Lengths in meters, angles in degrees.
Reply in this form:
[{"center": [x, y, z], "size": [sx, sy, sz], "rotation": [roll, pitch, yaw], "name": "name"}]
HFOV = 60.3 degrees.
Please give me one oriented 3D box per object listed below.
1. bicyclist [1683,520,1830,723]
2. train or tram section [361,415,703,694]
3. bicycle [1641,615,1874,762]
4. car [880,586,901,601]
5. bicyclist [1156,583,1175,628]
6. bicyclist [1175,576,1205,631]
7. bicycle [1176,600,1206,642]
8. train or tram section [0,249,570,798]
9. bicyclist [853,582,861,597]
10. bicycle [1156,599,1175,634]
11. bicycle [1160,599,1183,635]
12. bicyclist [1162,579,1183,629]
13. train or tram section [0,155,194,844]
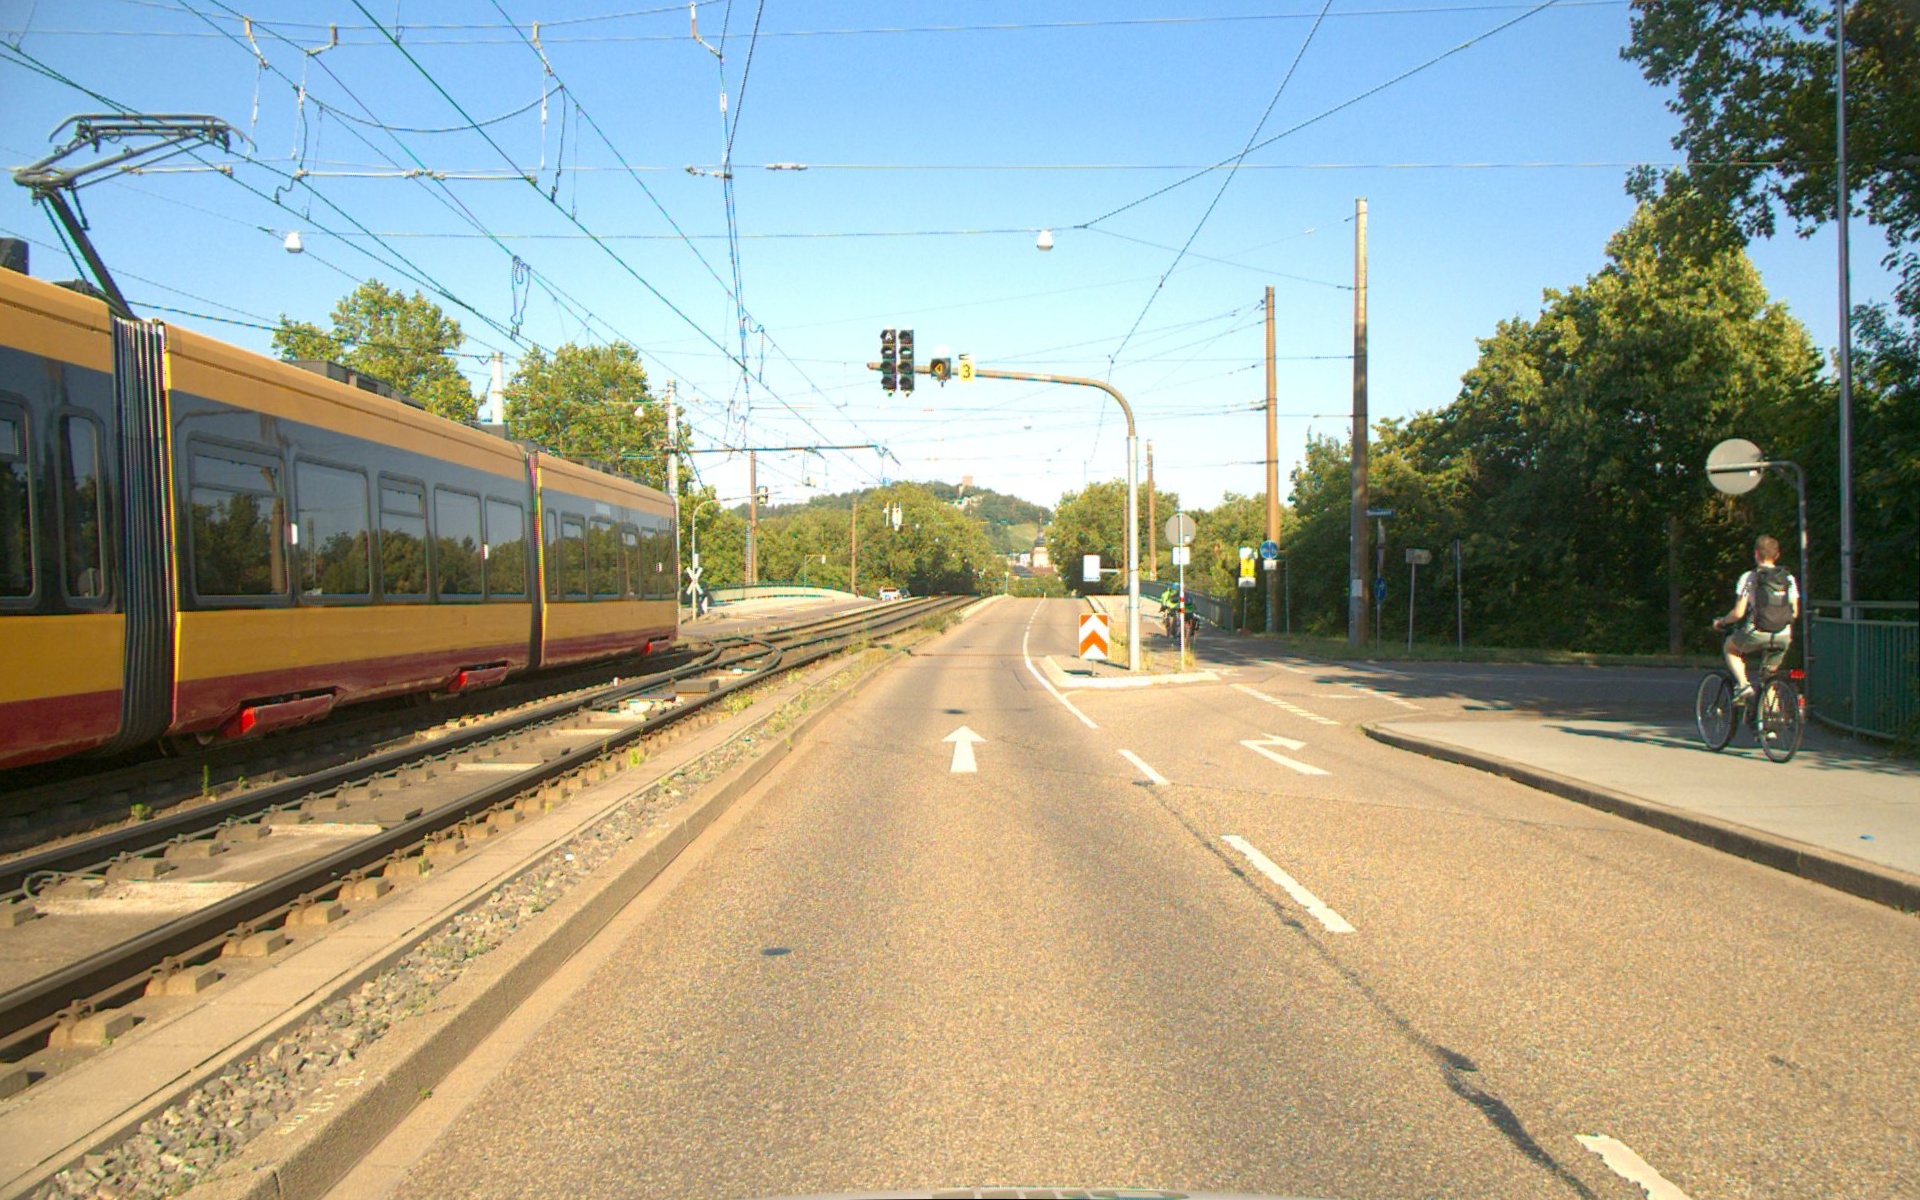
[{"center": [6.999, 0.179, 14.590], "size": [0.716, 1.719, 1.202], "rotation": [0, 0, -1], "name": "bicyclist"}, {"center": [-7.091, -0.684, 29.954], "size": [2.917, 3.969, 12.701], "rotation": [0, 0, 0], "name": "train or tram section"}, {"center": [6.991, 0.725, 14.689], "size": [0.716, 1.142, 2.741], "rotation": [0, 0, -1], "name": "bicycle"}, {"center": [-6.882, -0.656, 164.107], "size": [1.648, 1.380, 4.922], "rotation": [0, 0, 3], "name": "car"}, {"center": [7.058, 0.192, 56.846], "size": [0.612, 1.534, 1.007], "rotation": [0, 1, 6], "name": "bicyclist"}, {"center": [6.696, 0.089, 48.114], "size": [0.795, 1.589, 0.897], "rotation": [0, 1, 3], "name": "bicyclist"}, {"center": [6.707, 0.601, 48.142], "size": [0.669, 1.142, 2.217], "rotation": [0, 2, 3], "name": "bicycle"}, {"center": [-7.031, -0.587, 17.800], "size": [2.915, 3.969, 11.664], "rotation": [0, 0, 0], "name": "train or tram section"}, {"center": [-10.140, -1.060, 162.892], "size": [0.612, 1.457, 0.969], "rotation": [0, 0, 4], "name": "bicyclist"}, {"center": [7.057, 0.541, 56.805], "size": [0.612, 1.142, 2.261], "rotation": [0, 1, 6], "name": "bicycle"}, {"center": [6.861, 0.536, 53.692], "size": [0.612, 1.142, 2.043], "rotation": [0, 0, 3], "name": "bicycle"}, {"center": [6.898, 0.123, 53.698], "size": [0.612, 1.620, 0.931], "rotation": [0, 0, 3], "name": "bicyclist"}, {"center": [-6.985, -0.549, 5.366], "size": [2.942, 3.969, 13.080], "rotation": [0, 0, 0], "name": "train or tram section"}]
